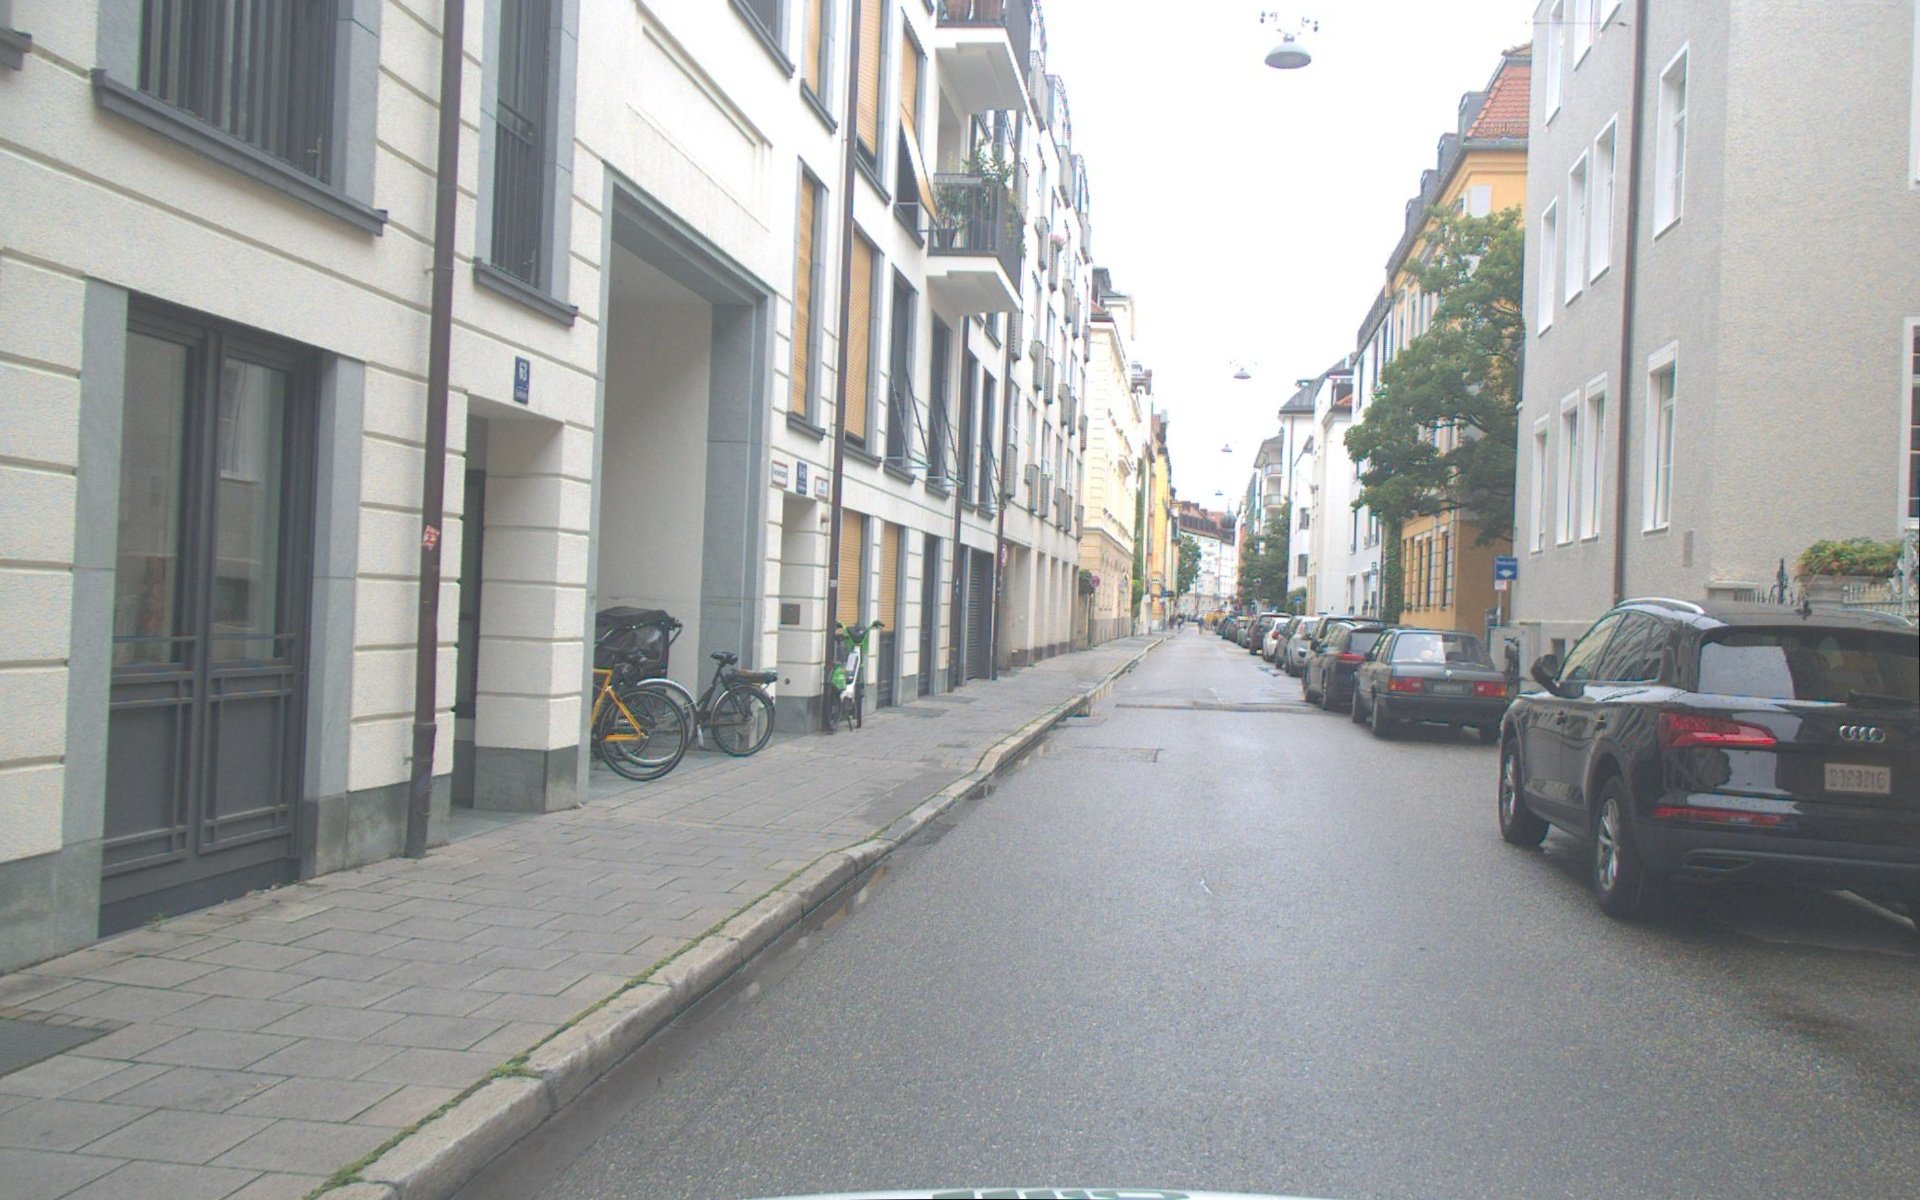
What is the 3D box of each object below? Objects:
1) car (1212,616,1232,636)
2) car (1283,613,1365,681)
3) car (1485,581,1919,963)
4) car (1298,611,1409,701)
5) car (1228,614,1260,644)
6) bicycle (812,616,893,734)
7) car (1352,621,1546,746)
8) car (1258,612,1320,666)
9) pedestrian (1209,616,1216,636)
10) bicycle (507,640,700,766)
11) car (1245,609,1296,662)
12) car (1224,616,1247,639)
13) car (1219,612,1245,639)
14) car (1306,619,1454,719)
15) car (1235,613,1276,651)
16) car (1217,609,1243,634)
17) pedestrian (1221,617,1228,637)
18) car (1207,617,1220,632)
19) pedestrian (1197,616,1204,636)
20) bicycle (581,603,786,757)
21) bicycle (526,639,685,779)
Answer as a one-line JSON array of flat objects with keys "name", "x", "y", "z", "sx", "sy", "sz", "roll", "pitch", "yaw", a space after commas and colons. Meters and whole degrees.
[{"name": "car", "x": 24.870, "y": 2.442, "z": 157.006, "sx": 1.621, "sy": 1.728, "sz": 3.459, "roll": 2, "pitch": 0, "yaw": 7}, {"name": "car", "x": 9.297, "y": 1.167, "z": 42.450, "sx": 1.665, "sy": 1.572, "sz": 3.776, "roll": 3, "pitch": 0, "yaw": 7}, {"name": "car", "x": 4.449, "y": 0.798, "z": 9.612, "sx": 1.854, "sy": 1.669, "sz": 4.325, "roll": 3, "pitch": 0, "yaw": 7}, {"name": "car", "x": 7.711, "y": 1.051, "z": 32.662, "sx": 1.665, "sy": 1.572, "sz": 3.776, "roll": 3, "pitch": 0, "yaw": 7}, {"name": "car", "x": 17.098, "y": 1.749, "z": 99.739, "sx": 1.665, "sy": 1.652, "sz": 3.776, "roll": 3, "pitch": 0, "yaw": 7}, {"name": "bicycle", "x": -1.120, "y": 0.769, "z": 17.609, "sx": 0.332, "sy": 1.166, "sz": 2.193, "roll": 2, "pitch": -1, "yaw": 9}, {"name": "car", "x": 6.414, "y": 1.038, "z": 22.095, "sx": 1.854, "sy": 1.400, "sz": 3.799, "roll": 3, "pitch": 0, "yaw": 7}, {"name": "car", "x": 10.832, "y": 1.255, "z": 54.662, "sx": 1.665, "sy": 1.652, "sz": 3.776, "roll": 3, "pitch": 0, "yaw": 7}, {"name": "pedestrian", "x": 21.662, "y": 2.251, "z": 142.085, "sx": 0.527, "sy": 1.682, "sz": 0.377, "roll": 2, "pitch": 0, "yaw": 8}, {"name": "bicycle", "x": -2.746, "y": 0.804, "z": 12.780, "sx": 1.369, "sy": 0.904, "sz": 0.377, "roll": 3, "pitch": 1, "yaw": -26}, {"name": "car", "x": 12.157, "y": 1.359, "z": 64.904, "sx": 1.665, "sy": 1.933, "sz": 3.776, "roll": 3, "pitch": 0, "yaw": 7}, {"name": "car", "x": 22.255, "y": 2.212, "z": 133.893, "sx": 1.621, "sy": 1.728, "sz": 3.459, "roll": 2, "pitch": 0, "yaw": 7}, {"name": "car", "x": 20.374, "y": 1.902, "z": 124.044, "sx": 1.665, "sy": 1.950, "sz": 3.776, "roll": 3, "pitch": 0, "yaw": 7}, {"name": "car", "x": 6.852, "y": 1.079, "z": 27.370, "sx": 1.854, "sy": 1.400, "sz": 3.943, "roll": 3, "pitch": 0, "yaw": 7}, {"name": "car", "x": 13.980, "y": 1.503, "z": 78.417, "sx": 1.665, "sy": 1.652, "sz": 3.776, "roll": 3, "pitch": 0, "yaw": 7}, {"name": "car", "x": 19.306, "y": 1.548, "z": 118.427, "sx": 1.720, "sy": 1.658, "sz": 3.595, "roll": 2, "pitch": 0, "yaw": 8}, {"name": "pedestrian", "x": 22.131, "y": 2.252, "z": 138.445, "sx": 0.527, "sy": 1.682, "sz": 0.377, "roll": 2, "pitch": 0, "yaw": 8}, {"name": "car", "x": 29.162, "y": 2.822, "z": 190.374, "sx": 1.335, "sy": 1.685, "sz": 3.469, "roll": 2, "pitch": 0, "yaw": 6}, {"name": "pedestrian", "x": 20.492, "y": 2.191, "z": 141.129, "sx": 0.527, "sy": 1.682, "sz": 0.377, "roll": 2, "pitch": 0, "yaw": 8}, {"name": "bicycle", "x": -2.303, "y": 0.672, "z": 13.911, "sx": 1.669, "sy": 1.214, "sz": 0.375, "roll": 3, "pitch": 1, "yaw": -39}, {"name": "bicycle", "x": -2.589, "y": 0.801, "z": 12.101, "sx": 1.050, "sy": 0.964, "sz": 0.305, "roll": 3, "pitch": 1, "yaw": -26}]
